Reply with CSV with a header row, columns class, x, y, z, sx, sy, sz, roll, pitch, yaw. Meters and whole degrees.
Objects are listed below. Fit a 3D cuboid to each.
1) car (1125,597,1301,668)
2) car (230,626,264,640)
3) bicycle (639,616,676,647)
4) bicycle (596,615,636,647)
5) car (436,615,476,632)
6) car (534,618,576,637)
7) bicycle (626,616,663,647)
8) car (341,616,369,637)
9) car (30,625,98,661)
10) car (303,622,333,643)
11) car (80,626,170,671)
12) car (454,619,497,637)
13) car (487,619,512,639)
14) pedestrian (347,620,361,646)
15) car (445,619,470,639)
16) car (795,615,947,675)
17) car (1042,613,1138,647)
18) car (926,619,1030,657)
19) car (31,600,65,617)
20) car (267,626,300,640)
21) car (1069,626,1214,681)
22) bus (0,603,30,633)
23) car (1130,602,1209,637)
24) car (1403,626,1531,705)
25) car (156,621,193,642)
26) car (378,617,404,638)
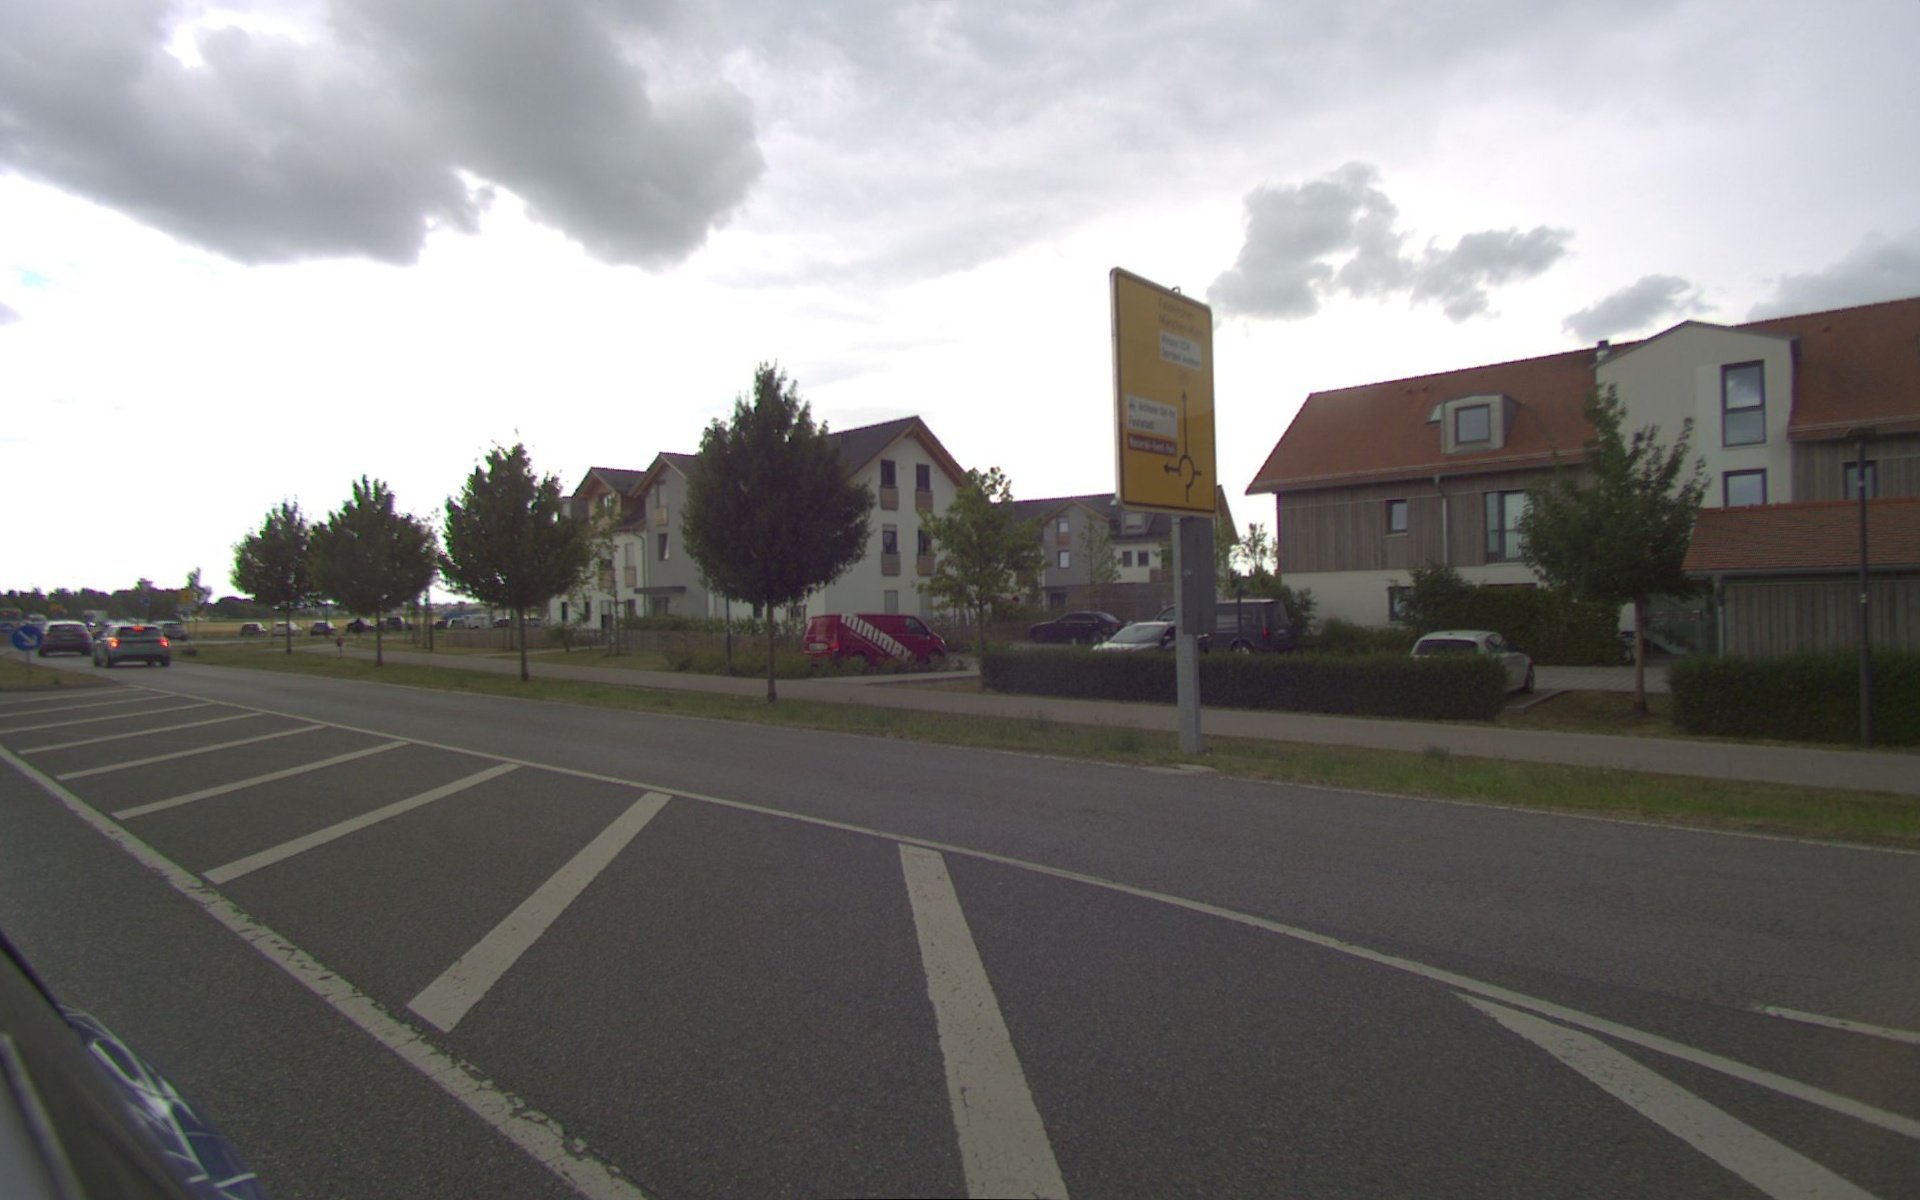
class,x,y,z,sx,sy,sz,roll,pitch,yaw
car,8.111,1.045,32.856,5.202,2.028,1.972,-2,2,44
car,-68.417,3.162,97.177,1.965,1.298,4.013,0,-2,-24
bicycle,-14.370,1.492,48.109,2.093,1.439,0.675,-2,-2,41
bicycle,-15.917,1.442,46.803,2.342,1.423,0.675,-2,-2,41
car,-60.355,2.856,121.251,1.991,2.029,3.961,-1,-2,29
car,-44.999,3.077,112.582,1.991,2.029,3.961,-1,-2,29
bicycle,-14.831,1.480,47.538,2.093,1.428,0.675,-2,-2,41
car,-60.008,2.635,100.455,1.965,2.029,4.013,0,-2,-24
car,-41.277,1.967,46.603,4.214,1.594,1.806,-2,-3,41
car,-63.150,3.202,99.571,1.965,2.029,4.013,0,-2,-24
car,-28.586,1.625,34.607,3.998,1.455,1.751,-2,-2,41
car,-55.361,3.234,115.689,1.994,2.029,3.956,-1,-2,32
car,-48.822,3.072,107.278,2.194,2.029,4.013,0,-2,-21
pedestrian,-36.935,2.017,61.677,0.586,1.541,0.540,-2,0,41
car,-52.834,3.071,106.365,1.965,2.029,4.013,0,-2,-21
car,-2.835,1.424,33.017,4.847,1.830,1.908,1,-2,-44
car,5.984,1.393,46.901,3.998,1.519,1.972,-2,-2,41
car,0.704,1.559,42.032,3.998,1.519,1.972,-2,-2,41
car,-81.262,0.790,90.154,3.998,1.455,1.751,-2,-2,41
car,-65.597,3.228,98.186,1.965,1.298,4.013,0,-2,-24
car,5.356,1.500,29.424,1.906,1.441,4.853,-2,-2,42
bus,-109.575,2.087,116.513,6.482,3.305,2.952,-2,-2,42
car,10.177,0.954,49.036,2.000,1.598,3.943,-2,-2,43
car,10.610,1.295,21.072,1.562,1.501,3.478,-2,-2,41
car,-57.448,2.290,73.954,1.803,1.500,4.220,1,-2,-42
car,-57.061,2.786,101.522,1.966,2.029,4.010,1,-2,-34
